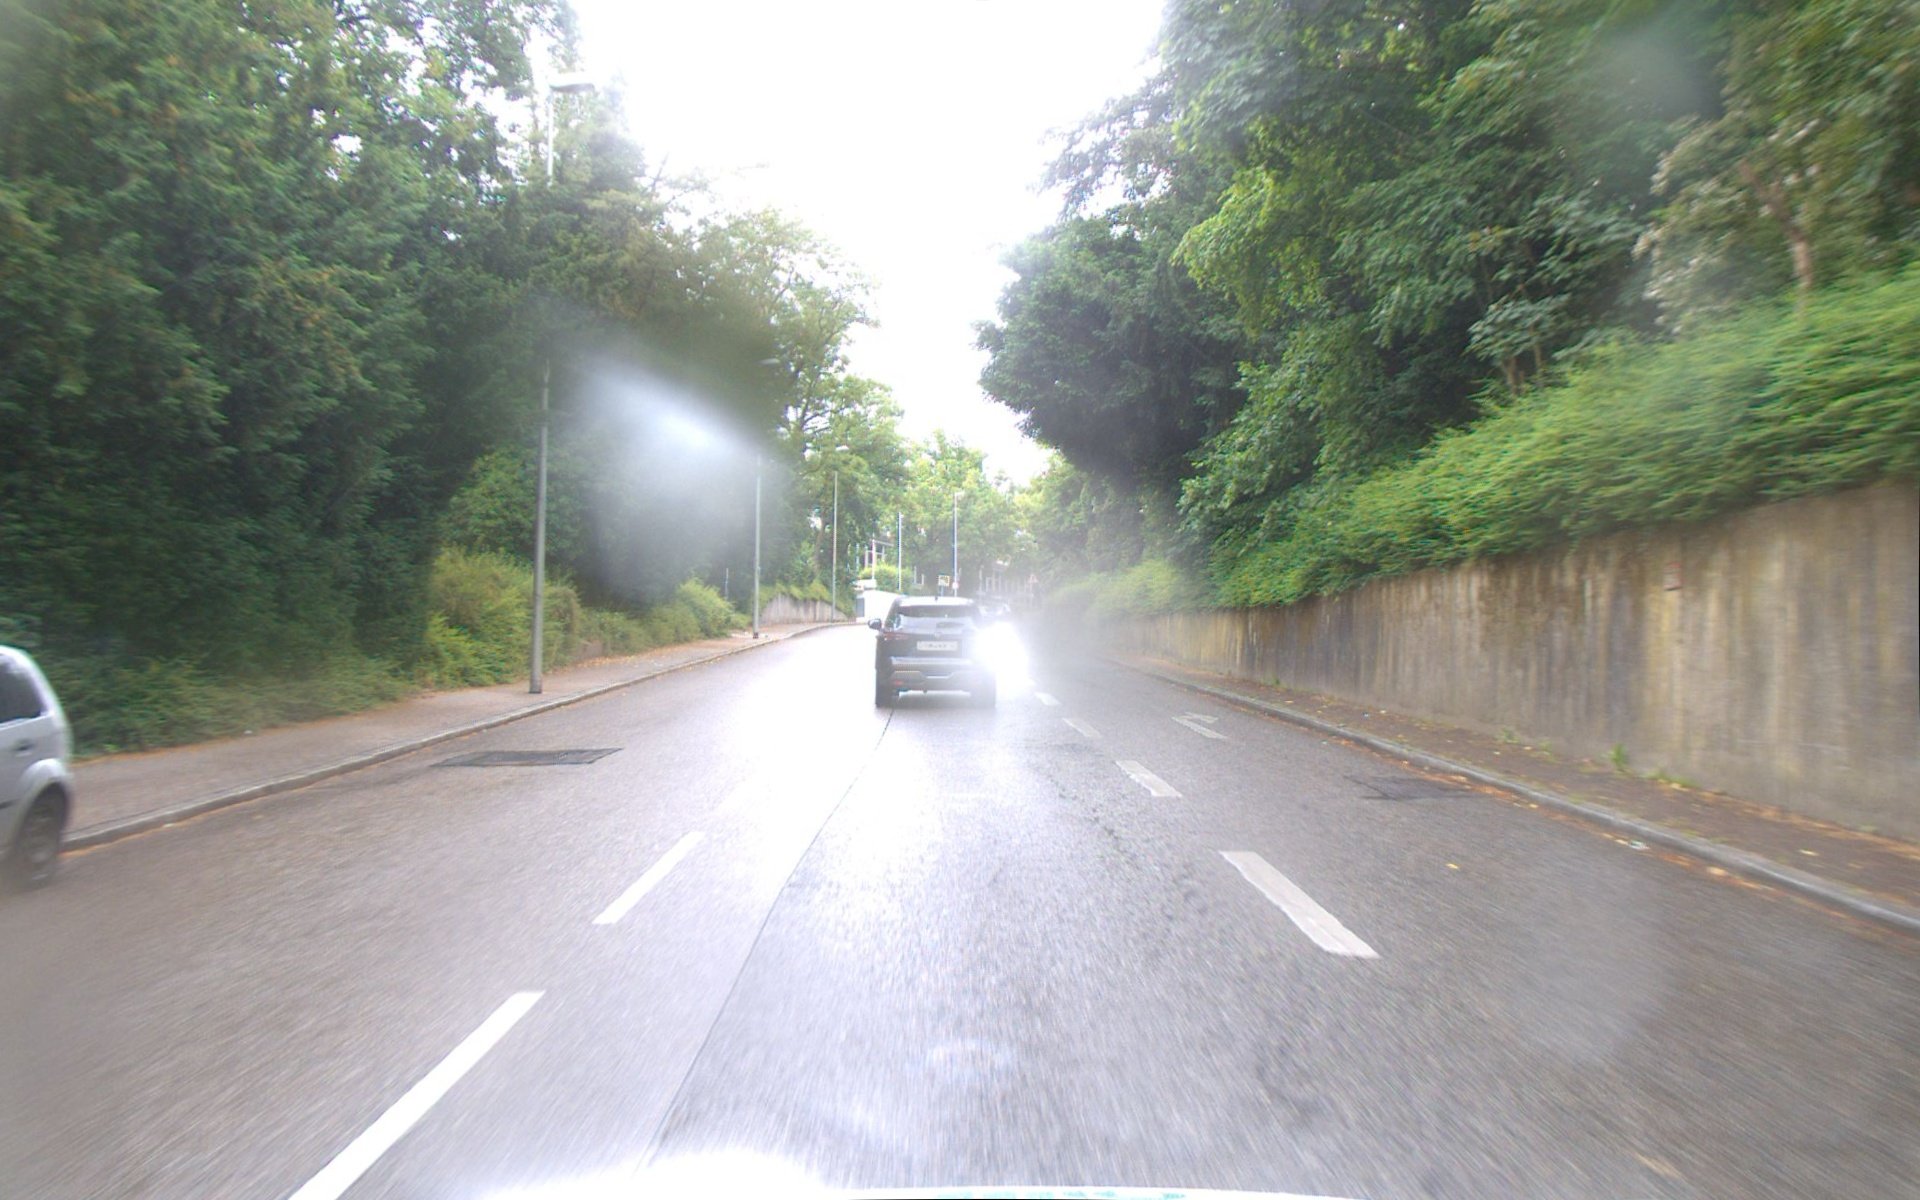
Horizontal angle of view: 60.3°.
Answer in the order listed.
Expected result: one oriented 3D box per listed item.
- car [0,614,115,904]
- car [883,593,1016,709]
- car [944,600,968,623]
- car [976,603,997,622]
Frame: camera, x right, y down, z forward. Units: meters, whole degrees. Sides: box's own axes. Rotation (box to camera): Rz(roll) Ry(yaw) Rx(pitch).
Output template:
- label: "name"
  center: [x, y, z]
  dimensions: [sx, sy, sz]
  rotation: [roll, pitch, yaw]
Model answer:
- label: "car"
  center: [-5.910, 0.852, 8.172]
  dimensions: [1.594, 1.525, 3.925]
  rotation: [2, 0, -3]
- label: "car"
  center: [-0.184, 0.717, 25.505]
  dimensions: [1.889, 1.641, 3.999]
  rotation: [0, 0, -1]
- label: "car"
  center: [-0.318, 0.872, 127.086]
  dimensions: [1.793, 1.741, 4.000]
  rotation: [1, 0, 0]
- label: "car"
  center: [2.165, 0.995, 136.075]
  dimensions: [1.641, 1.522, 3.459]
  rotation: [0, 0, -2]
